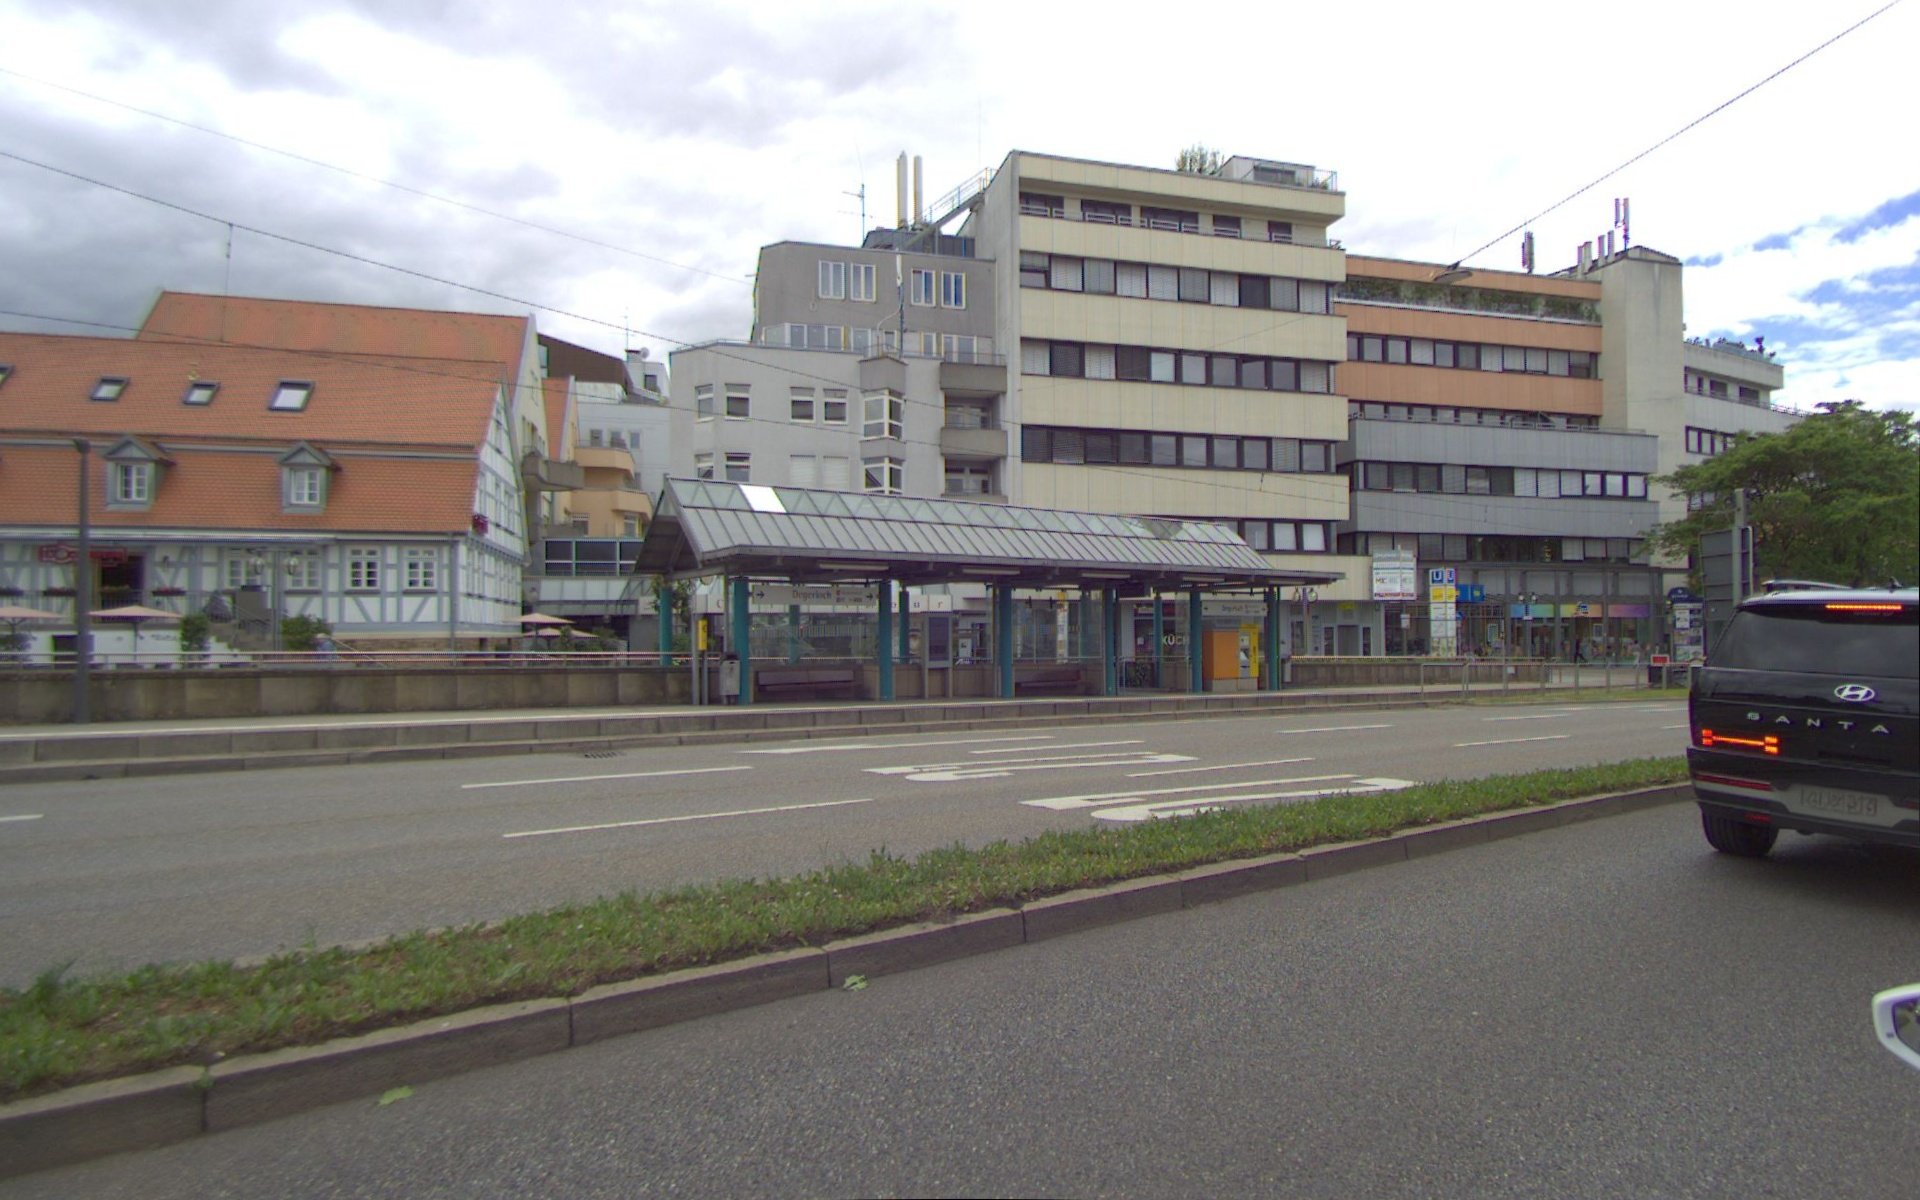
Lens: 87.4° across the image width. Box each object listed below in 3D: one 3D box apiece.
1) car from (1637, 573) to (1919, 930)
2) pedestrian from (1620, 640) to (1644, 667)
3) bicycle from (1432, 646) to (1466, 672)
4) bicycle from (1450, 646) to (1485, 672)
[{"bbox_3d":[6.521,0.796,6.544,4.630,1.775,1.910,1,0,-34],"label":"car"},{"bbox_3d":[38.291,3.051,57.216,0.882,1.547,0.852,-1,-2,16],"label":"pedestrian"},{"bbox_3d":[26.110,3.136,53.628,0.692,1.336,1.972,1,-3,-6],"label":"bicycle"},{"bbox_3d":[27.076,3.131,53.583,0.692,1.336,1.972,1,-3,-6],"label":"bicycle"}]
